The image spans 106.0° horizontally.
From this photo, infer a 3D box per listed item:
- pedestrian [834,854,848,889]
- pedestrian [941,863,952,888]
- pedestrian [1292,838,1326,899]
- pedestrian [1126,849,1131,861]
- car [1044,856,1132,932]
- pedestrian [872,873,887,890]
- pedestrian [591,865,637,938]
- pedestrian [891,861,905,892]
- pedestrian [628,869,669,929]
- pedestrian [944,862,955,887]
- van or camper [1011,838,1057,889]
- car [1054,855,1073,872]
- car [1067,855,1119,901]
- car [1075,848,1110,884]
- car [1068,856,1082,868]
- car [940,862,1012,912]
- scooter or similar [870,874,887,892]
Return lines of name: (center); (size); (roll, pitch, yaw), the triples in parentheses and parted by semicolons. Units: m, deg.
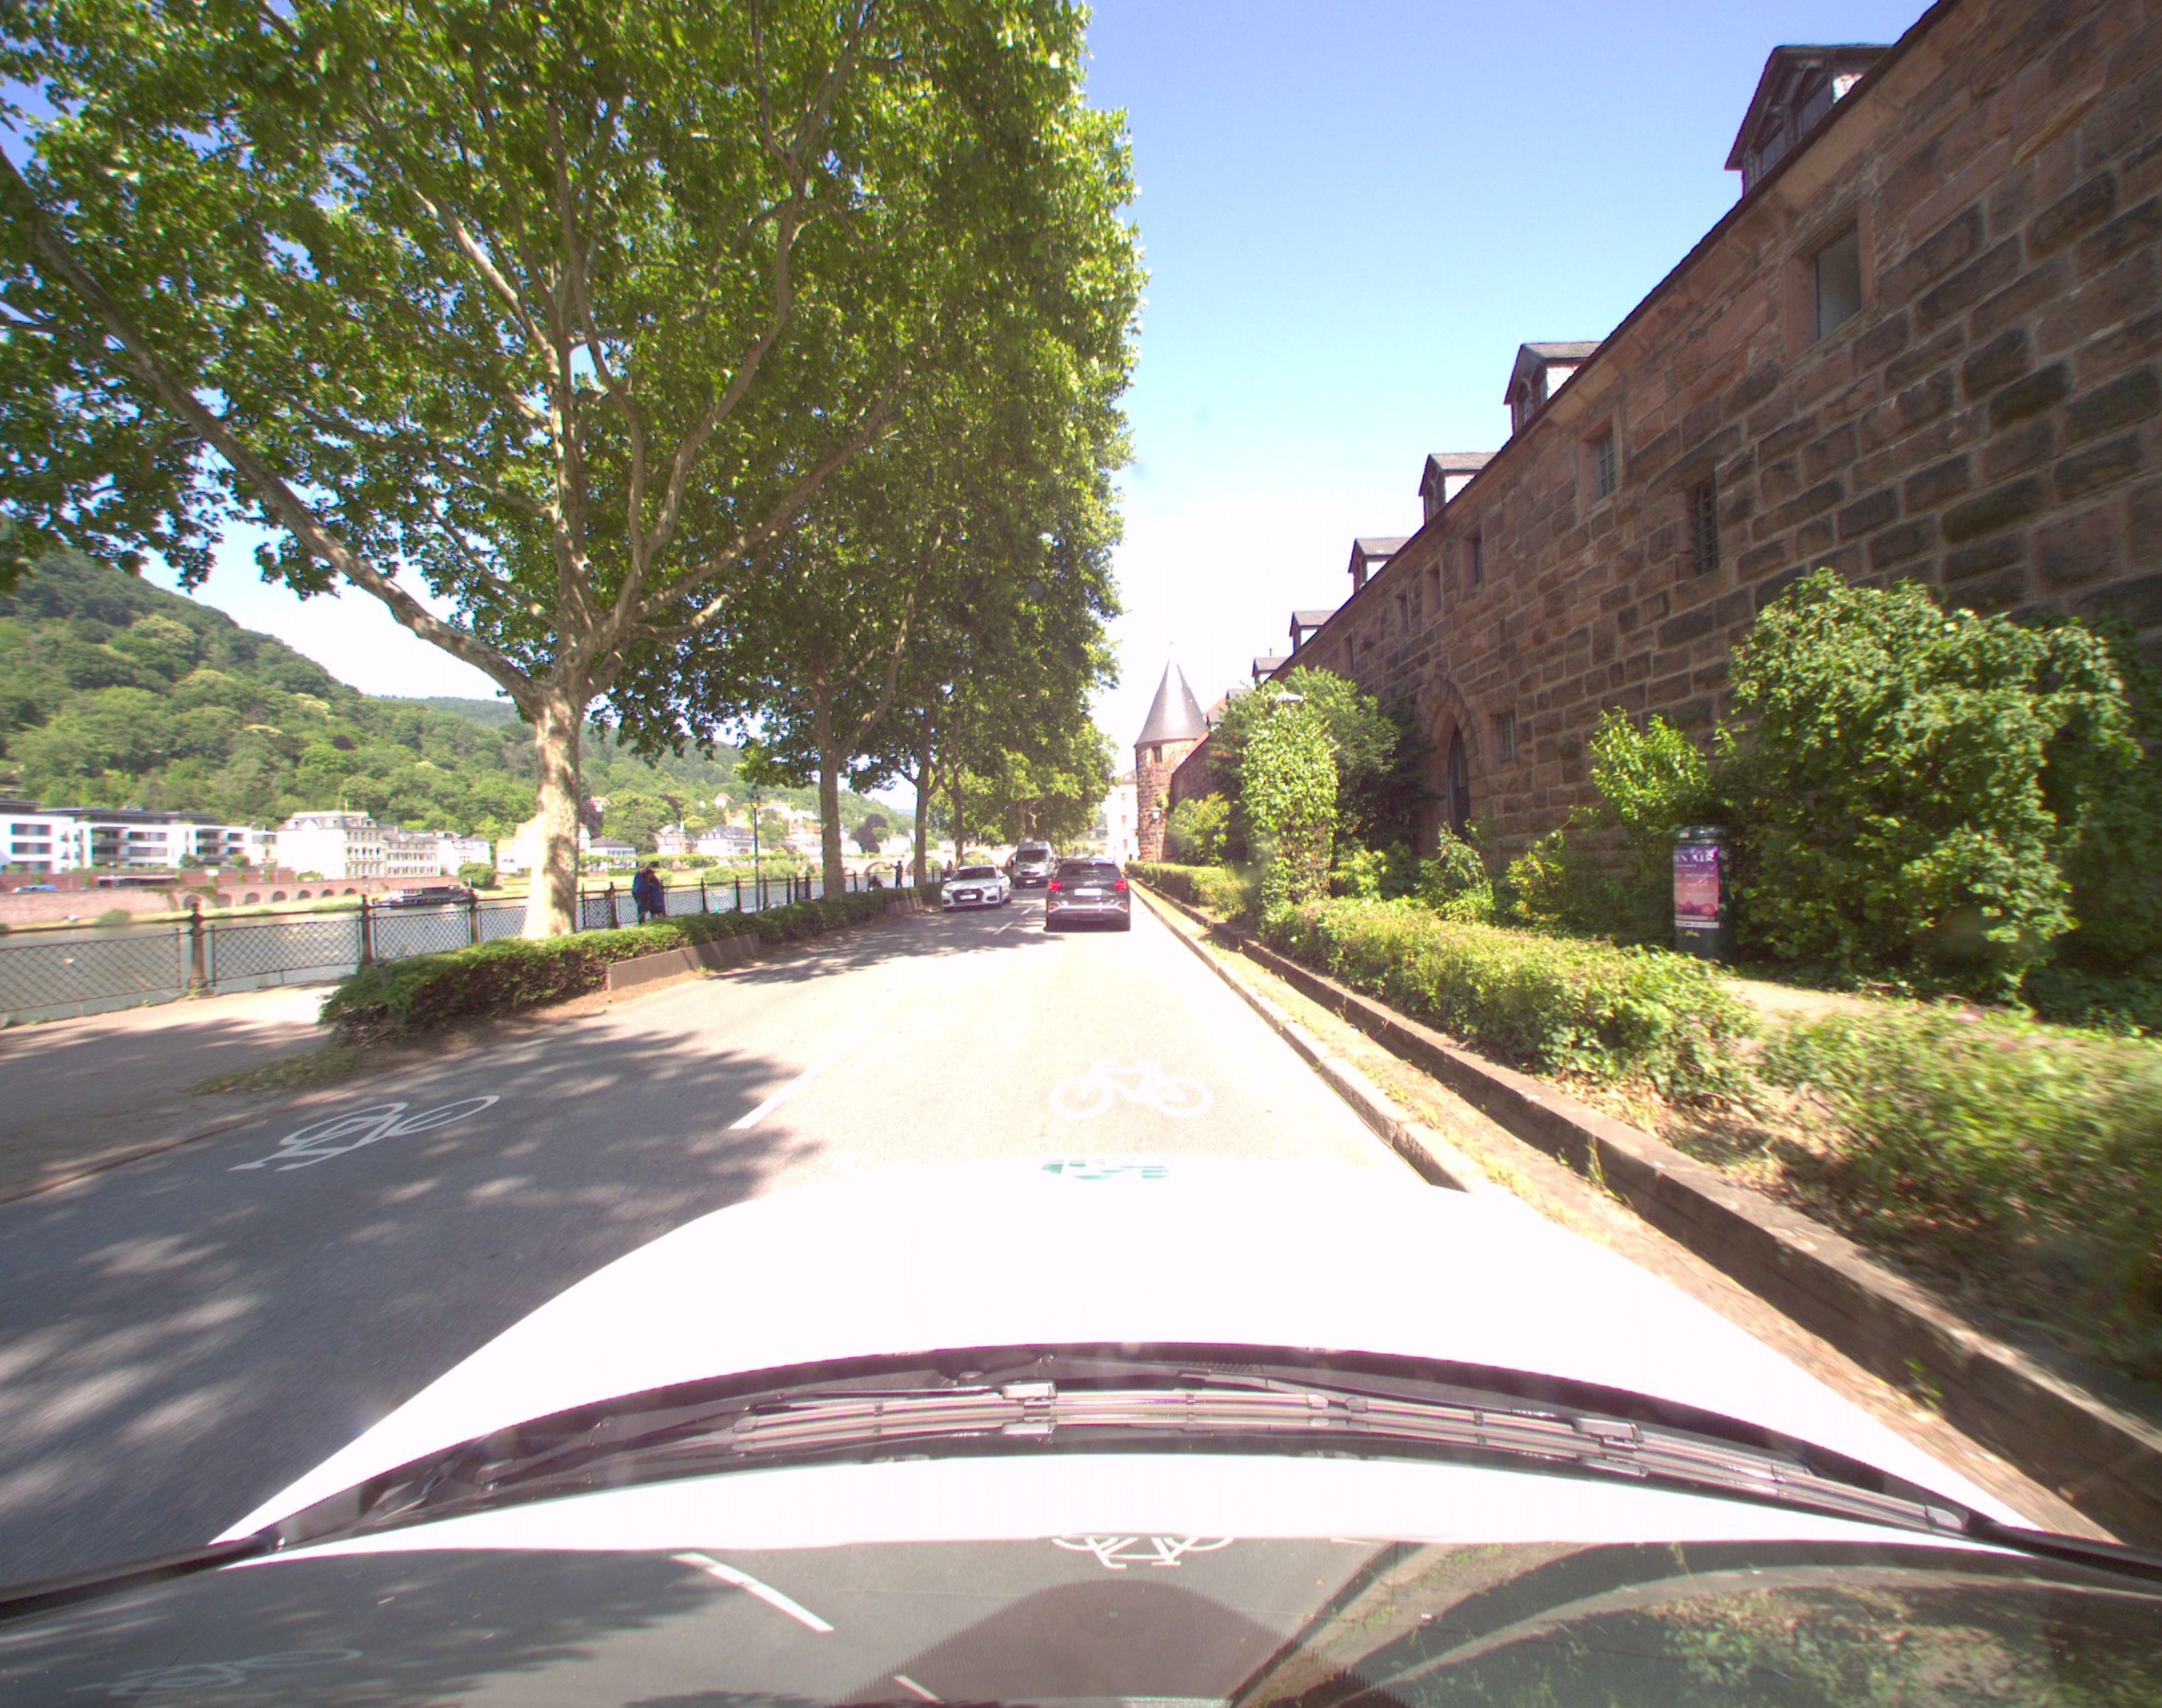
pedestrian: (-11.794, 0.881, 40.025); (0.582, 1.711, 0.403); (0, -1, -1)
pedestrian: (-8.420, 1.330, 50.966); (0.456, 1.554, 0.586); (-4, -1, 0)
pedestrian: (6.515, 0.410, 23.310); (0.695, 1.652, 0.705); (-4, 0, 3)
pedestrian: (6.501, 0.142, 111.574); (0.555, 1.633, 0.660); (-1, -1, 2)
car: (0.145, 0.816, 18.157); (1.742, 1.494, 3.628); (-1, 0, 0)
pedestrian: (-10.881, 1.491, 43.966); (0.605, 0.884, 0.705); (-2, 0, 0)
pedestrian: (-11.941, 1.196, 20.836); (0.701, 1.797, 0.705); (-2, -1, 3)
pedestrian: (-9.755, 1.181, 43.429); (0.642, 1.618, 0.458); (0, -1, -1)
pedestrian: (-11.860, 1.224, 22.343); (0.701, 1.603, 0.705); (-2, -1, 3)
pedestrian: (-8.368, 1.331, 51.854); (0.456, 1.554, 0.586); (-4, -1, 1)
van or camper: (-2.588, 0.539, 46.080); (1.954, 2.567, 5.842); (-4, -1, 1)
car: (-1.921, 1.033, 90.088); (1.871, 1.698, 4.258); (-4, 0, 0)
car: (0.497, 0.890, 31.443); (1.794, 1.562, 3.718); (-4, 0, 2)
car: (0.712, 0.712, 49.633); (1.986, 2.013, 4.001); (-3, 0, 1)
car: (-0.794, 1.100, 115.545); (1.757, 1.647, 4.091); (-4, 0, 2)
car: (-3.466, 1.054, 27.585); (1.763, 1.457, 4.533); (-3, -1, 0)
scooter or similar: (-10.887, 1.558, 43.813); (0.629, 0.968, 1.012); (-1, -1, 1)
